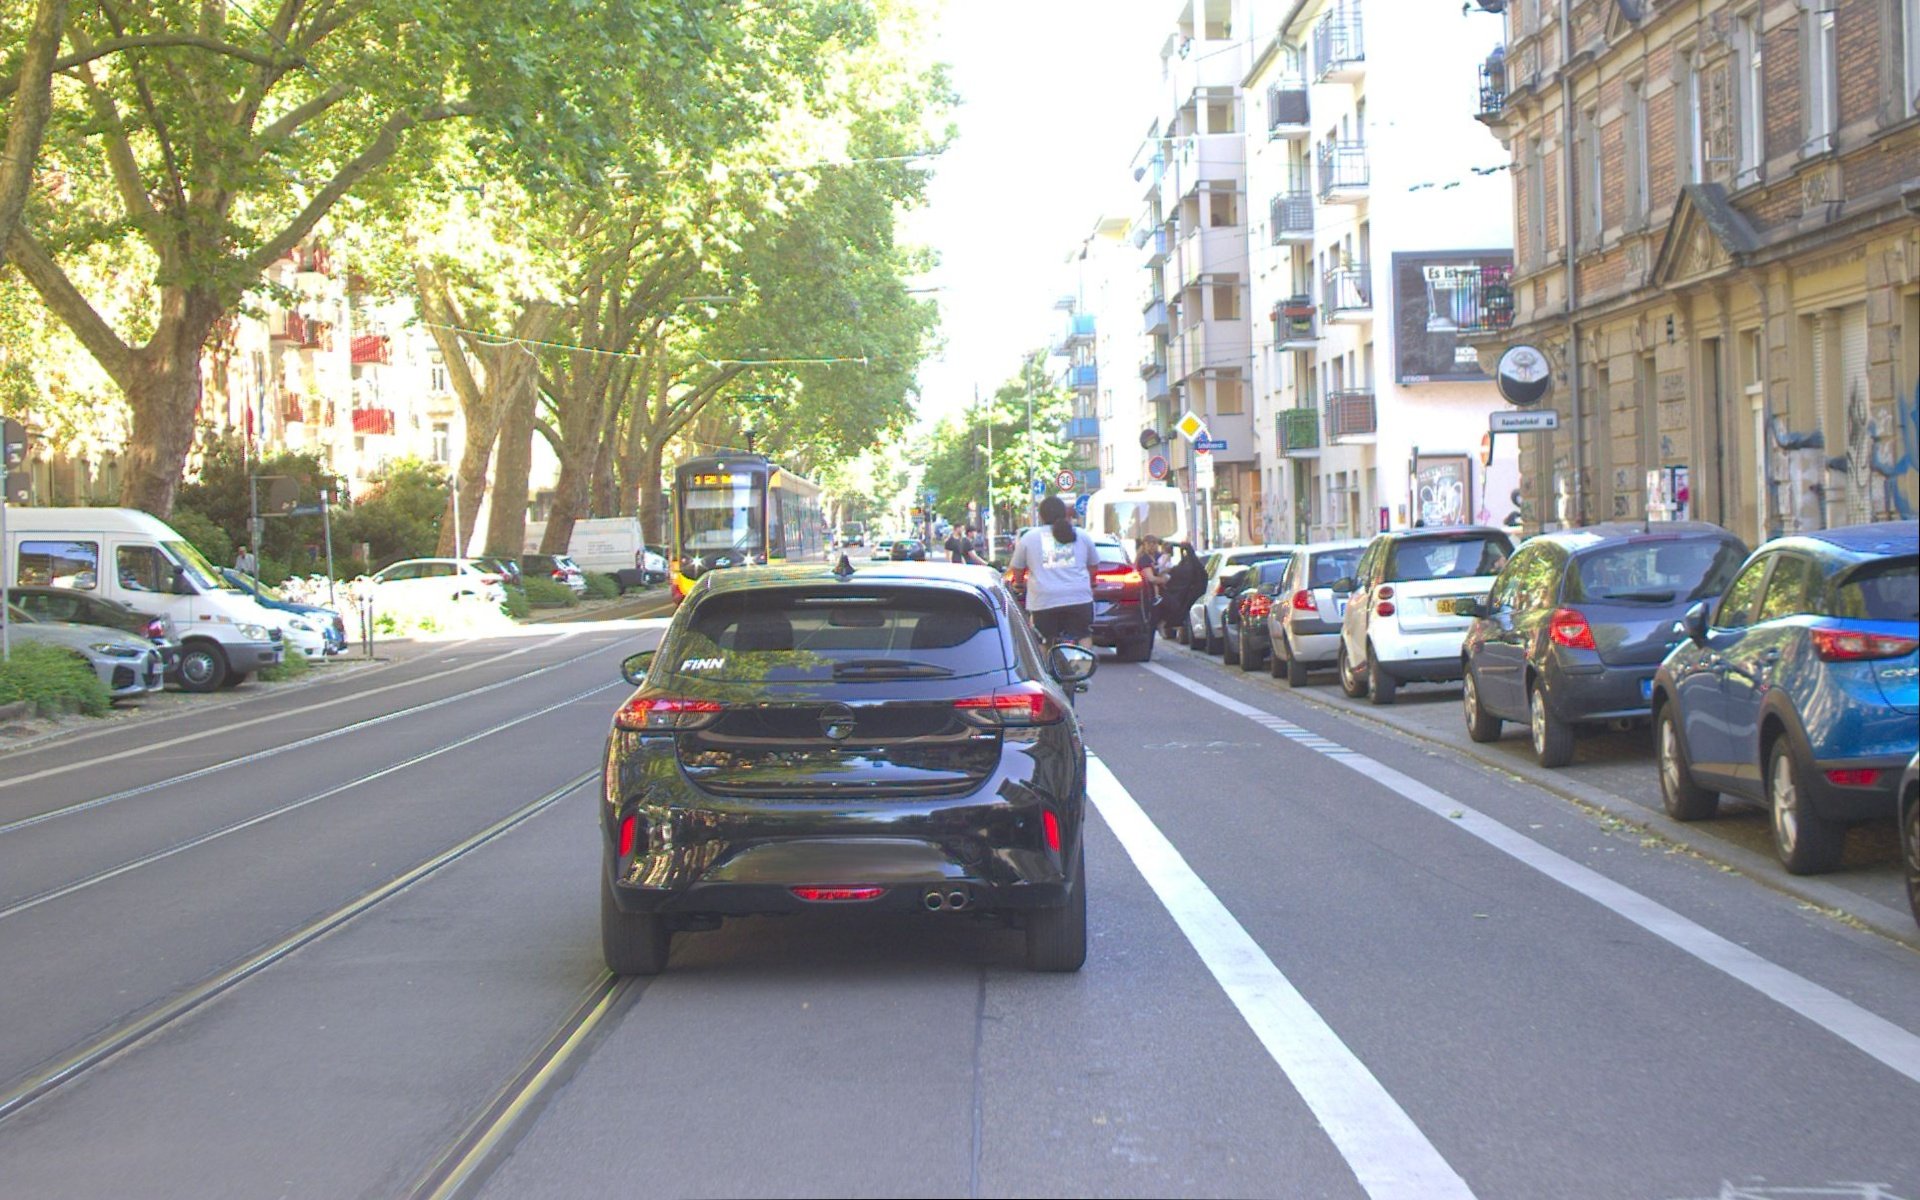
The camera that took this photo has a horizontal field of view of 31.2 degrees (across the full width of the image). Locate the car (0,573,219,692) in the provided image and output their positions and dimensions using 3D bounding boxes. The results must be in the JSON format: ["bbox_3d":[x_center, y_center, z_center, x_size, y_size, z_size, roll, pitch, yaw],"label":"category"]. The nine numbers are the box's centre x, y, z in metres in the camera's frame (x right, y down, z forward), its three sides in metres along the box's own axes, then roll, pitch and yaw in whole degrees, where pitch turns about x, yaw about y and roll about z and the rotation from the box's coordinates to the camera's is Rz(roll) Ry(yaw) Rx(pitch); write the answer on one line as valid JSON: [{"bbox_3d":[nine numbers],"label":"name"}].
[{"bbox_3d":[-11.610,0.401,44.048,3.919,1.493,1.677,0,1,-3],"label":"car"}]

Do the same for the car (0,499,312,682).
[{"bbox_3d":[-12.317,-0.138,46.519,6.628,2.401,2.458,0,1,0],"label":"car"}]

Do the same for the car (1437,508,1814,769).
[{"bbox_3d":[4.378,0.207,23.148,1.710,1.478,3.764,-5,1,0],"label":"car"}]

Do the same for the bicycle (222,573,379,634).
[{"bbox_3d":[-13.244,0.075,69.011,2.945,1.165,0.989,-1,1,16],"label":"bicycle"}]

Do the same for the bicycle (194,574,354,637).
[{"bbox_3d":[-13.513,0.104,67.692,2.945,1.165,0.989,-1,1,16],"label":"bicycle"}]

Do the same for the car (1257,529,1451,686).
[{"bbox_3d":[4.164,0.037,36.796,1.705,1.451,3.697,-5,1,3],"label":"car"}]

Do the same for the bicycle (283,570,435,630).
[{"bbox_3d":[-12.428,-0.004,71.079,2.945,1.165,0.989,-1,1,16],"label":"bicycle"}]

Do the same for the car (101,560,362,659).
[{"bbox_3d":[-11.748,0.144,55.622,3.919,1.572,1.677,0,1,-3],"label":"car"}]

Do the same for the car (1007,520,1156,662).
[{"bbox_3d":[1.563,-0.146,45.388,1.810,1.736,3.933,-2,1,1],"label":"car"}]

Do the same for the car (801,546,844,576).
[{"bbox_3d":[-6.503,-1.857,163.335,1.810,1.333,3.933,-2,1,1],"label":"car"}]

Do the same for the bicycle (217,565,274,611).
[{"bbox_3d":[-18.754,-0.327,90.303,0.987,1.165,2.953,-1,1,-2],"label":"bicycle"}]

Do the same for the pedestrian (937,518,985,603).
[{"bbox_3d":[0.023,-0.740,63.916,0.679,1.561,0.768,-1,1,15],"label":"pedestrian"}]

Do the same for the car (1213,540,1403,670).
[{"bbox_3d":[4.119,0.021,41.199,1.810,1.333,3.933,-5,1,1],"label":"car"}]

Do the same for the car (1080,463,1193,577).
[{"bbox_3d":[3.773,-1.713,74.372,2.075,2.211,4.933,-5,1,1],"label":"car"}]

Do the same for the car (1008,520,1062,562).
[{"bbox_3d":[2.689,-2.150,124.646,1.810,1.333,3.933,-5,1,1],"label":"car"}]

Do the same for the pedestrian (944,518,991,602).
[{"bbox_3d":[0.137,-0.756,64.732,0.679,1.561,0.768,-1,1,15],"label":"pedestrian"}]

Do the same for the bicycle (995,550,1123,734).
[{"bbox_3d":[0.781,0.307,27.891,0.860,1.402,2.524,-1,1,-2],"label":"bicycle"}]

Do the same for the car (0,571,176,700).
[{"bbox_3d":[-11.468,0.408,40.840,3.920,1.493,1.677,0,1,1],"label":"car"}]

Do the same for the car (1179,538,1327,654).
[{"bbox_3d":[4.030,-0.088,47.815,1.661,1.414,3.933,-5,1,1],"label":"car"}]

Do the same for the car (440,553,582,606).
[{"bbox_3d":[-12.851,-0.595,98.598,3.919,1.493,1.677,0,1,-3],"label":"car"}]

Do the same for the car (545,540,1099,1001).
[{"bbox_3d":[-0.480,0.531,13.091,1.794,1.436,3.532,-1,2,-1],"label":"car"}]

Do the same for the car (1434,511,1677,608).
[{"bbox_3d":[11.600,-0.800,67.159,4.377,1.792,1.876,-1,1,-1],"label":"car"}]

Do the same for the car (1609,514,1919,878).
[{"bbox_3d":[4.513,0.354,16.726,1.880,1.451,4.026,-5,1,1],"label":"car"}]

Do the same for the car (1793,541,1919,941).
[{"bbox_3d":[4.419,0.475,12.230,1.798,1.451,3.768,-5,1,-1],"label":"car"}]

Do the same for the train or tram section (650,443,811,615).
[{"bbox_3d":[-5.307,-1.665,81.721,2.735,3.669,12.717,-2,1,0],"label":"train or tram section"}]

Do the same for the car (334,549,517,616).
[{"bbox_3d":[-12.029,-0.402,77.530,3.919,1.493,1.677,0,1,-3],"label":"car"}]

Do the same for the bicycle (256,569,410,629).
[{"bbox_3d":[-12.777,-0.019,70.098,2.945,1.165,0.989,-1,1,16],"label":"bicycle"}]

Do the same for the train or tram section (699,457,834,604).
[{"bbox_3d":[-5.189,-1.890,94.388,2.735,3.669,12.717,-2,1,0],"label":"train or tram section"}]

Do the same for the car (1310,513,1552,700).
[{"bbox_3d":[4.297,0.038,31.743,1.567,1.512,3.041,-5,1,-3],"label":"car"}]

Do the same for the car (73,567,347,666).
[{"bbox_3d":[-11.566,0.247,53.159,3.919,1.493,1.677,0,1,-3],"label":"car"}]

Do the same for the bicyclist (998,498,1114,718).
[{"bbox_3d":[0.771,0.054,27.947,0.848,1.734,1.162,-1,1,-2],"label":"bicyclist"}]

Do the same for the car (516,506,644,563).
[{"bbox_3d":[-11.921,-2.049,107.976,3.919,1.784,1.677,0,1,-3],"label":"car"}]

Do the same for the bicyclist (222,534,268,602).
[{"bbox_3d":[-18.770,-0.851,90.285,0.987,1.750,1.154,-1,1,-2],"label":"bicyclist"}]

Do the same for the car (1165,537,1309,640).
[{"bbox_3d":[4.193,-0.205,52.550,1.810,1.375,3.933,-5,1,1],"label":"car"}]

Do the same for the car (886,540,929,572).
[{"bbox_3d":[-2.324,-1.918,150.564,1.809,1.333,3.933,-1,1,-2],"label":"car"}]

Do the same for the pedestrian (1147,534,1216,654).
[{"bbox_3d":[2.925,-0.086,45.382,0.866,1.561,0.768,-1,1,3],"label":"pedestrian"}]
